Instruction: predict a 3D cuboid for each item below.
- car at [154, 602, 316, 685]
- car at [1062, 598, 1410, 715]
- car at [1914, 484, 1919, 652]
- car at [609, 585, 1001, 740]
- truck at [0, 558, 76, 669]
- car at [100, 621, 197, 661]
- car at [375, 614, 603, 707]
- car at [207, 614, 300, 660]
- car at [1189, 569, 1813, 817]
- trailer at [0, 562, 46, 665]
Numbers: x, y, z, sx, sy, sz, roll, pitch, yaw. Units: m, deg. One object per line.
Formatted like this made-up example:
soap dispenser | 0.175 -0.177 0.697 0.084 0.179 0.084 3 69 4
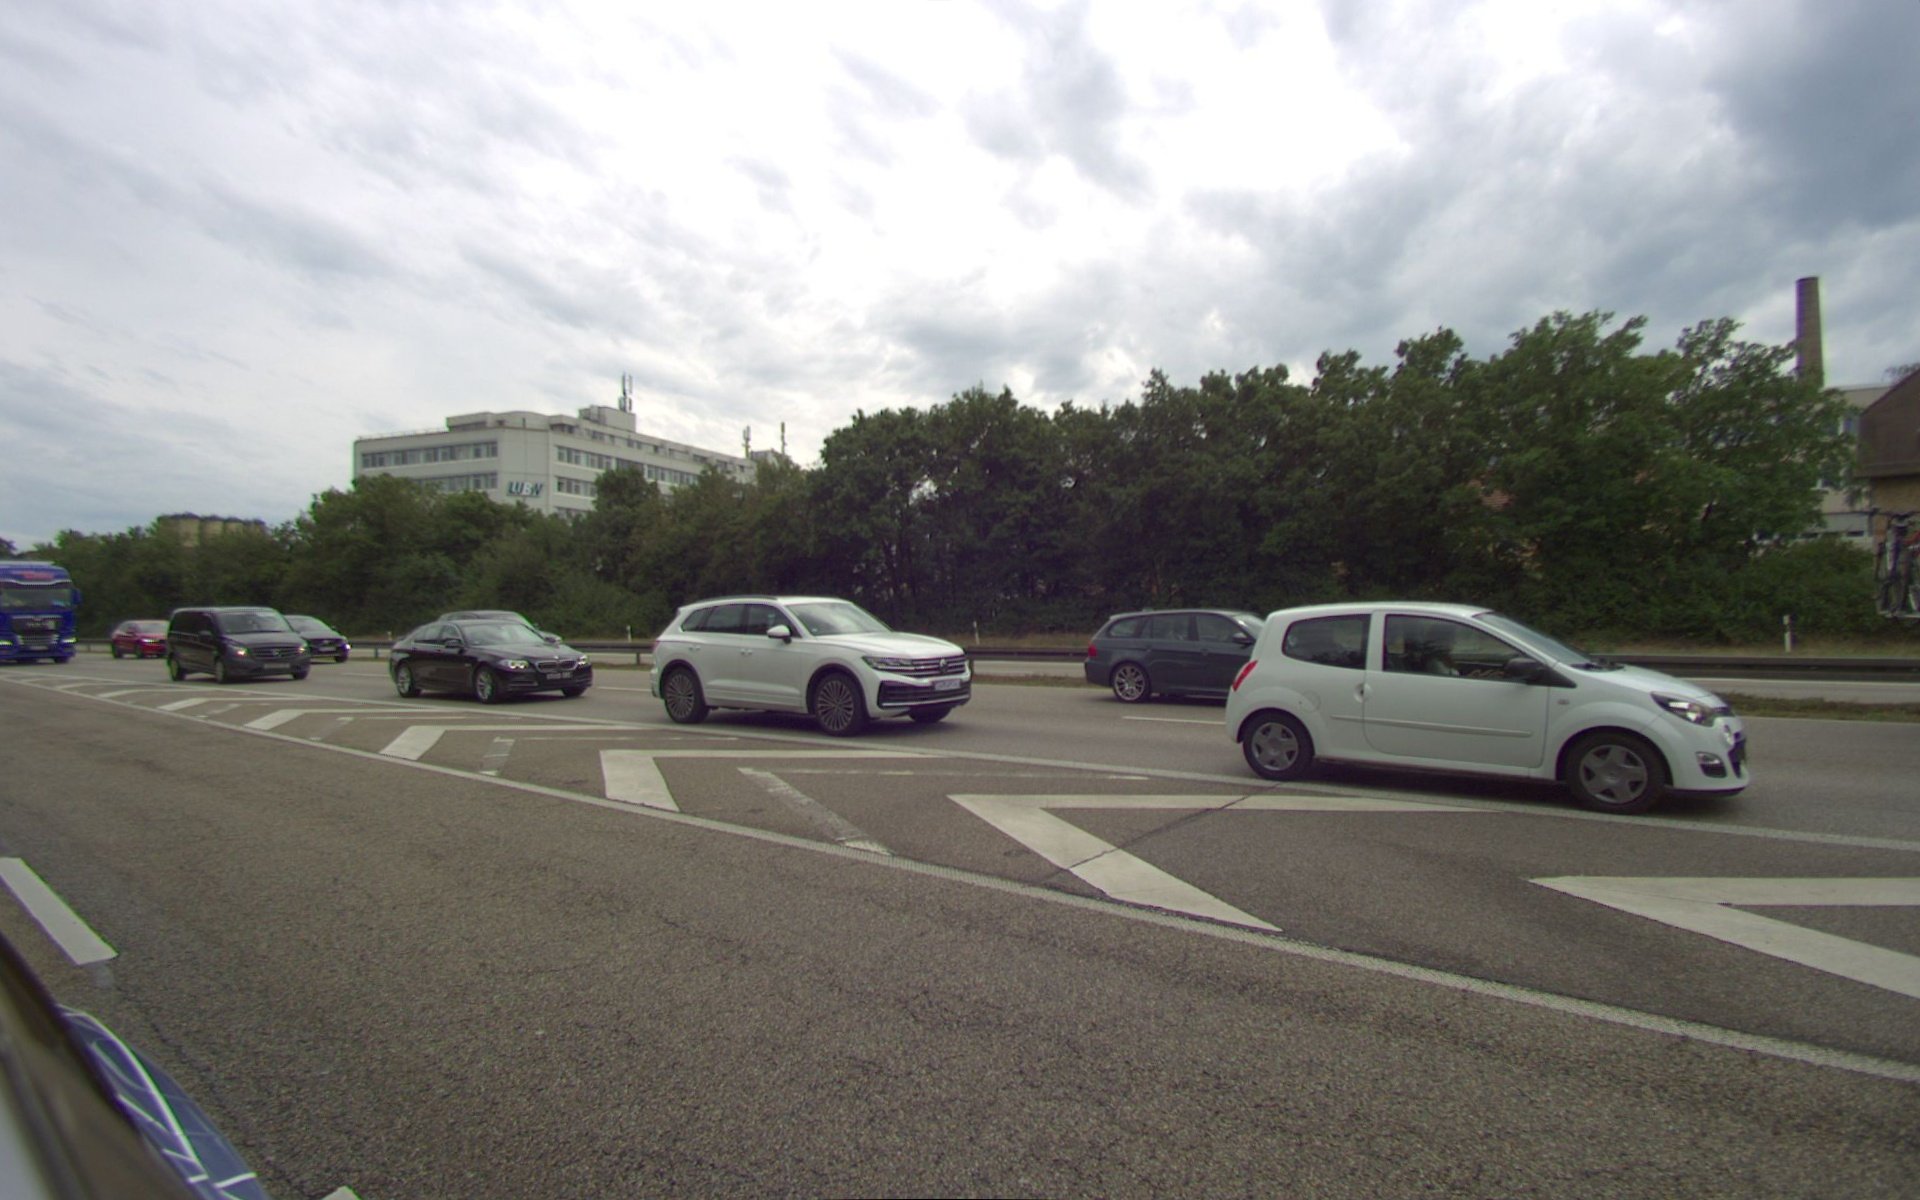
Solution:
car | -18.835 1.104 26.211 5.070 1.920 1.975 -2 0 37
car | 3.957 0.742 15.000 4.695 1.459 1.697 -1 0 39
car | 12.238 -0.045 8.887 5.354 2.573 1.975 -2 -2 38
car | -2.208 0.739 13.325 5.370 1.673 1.893 -2 -1 37
truck | -37.489 0.518 39.579 6.566 4.073 2.542 -1 0 32
car | -34.900 1.746 43.493 4.776 1.631 1.977 -2 -1 35
car | -8.838 1.031 18.806 4.824 1.471 1.830 -1 0 38
car | -26.625 1.395 38.112 3.990 1.624 1.631 -2 -2 35
car | 4.024 0.614 7.996 4.030 1.502 1.563 -2 -2 38
trailer | -43.250 0.616 43.289 13.419 4.053 2.607 -1 0 32
